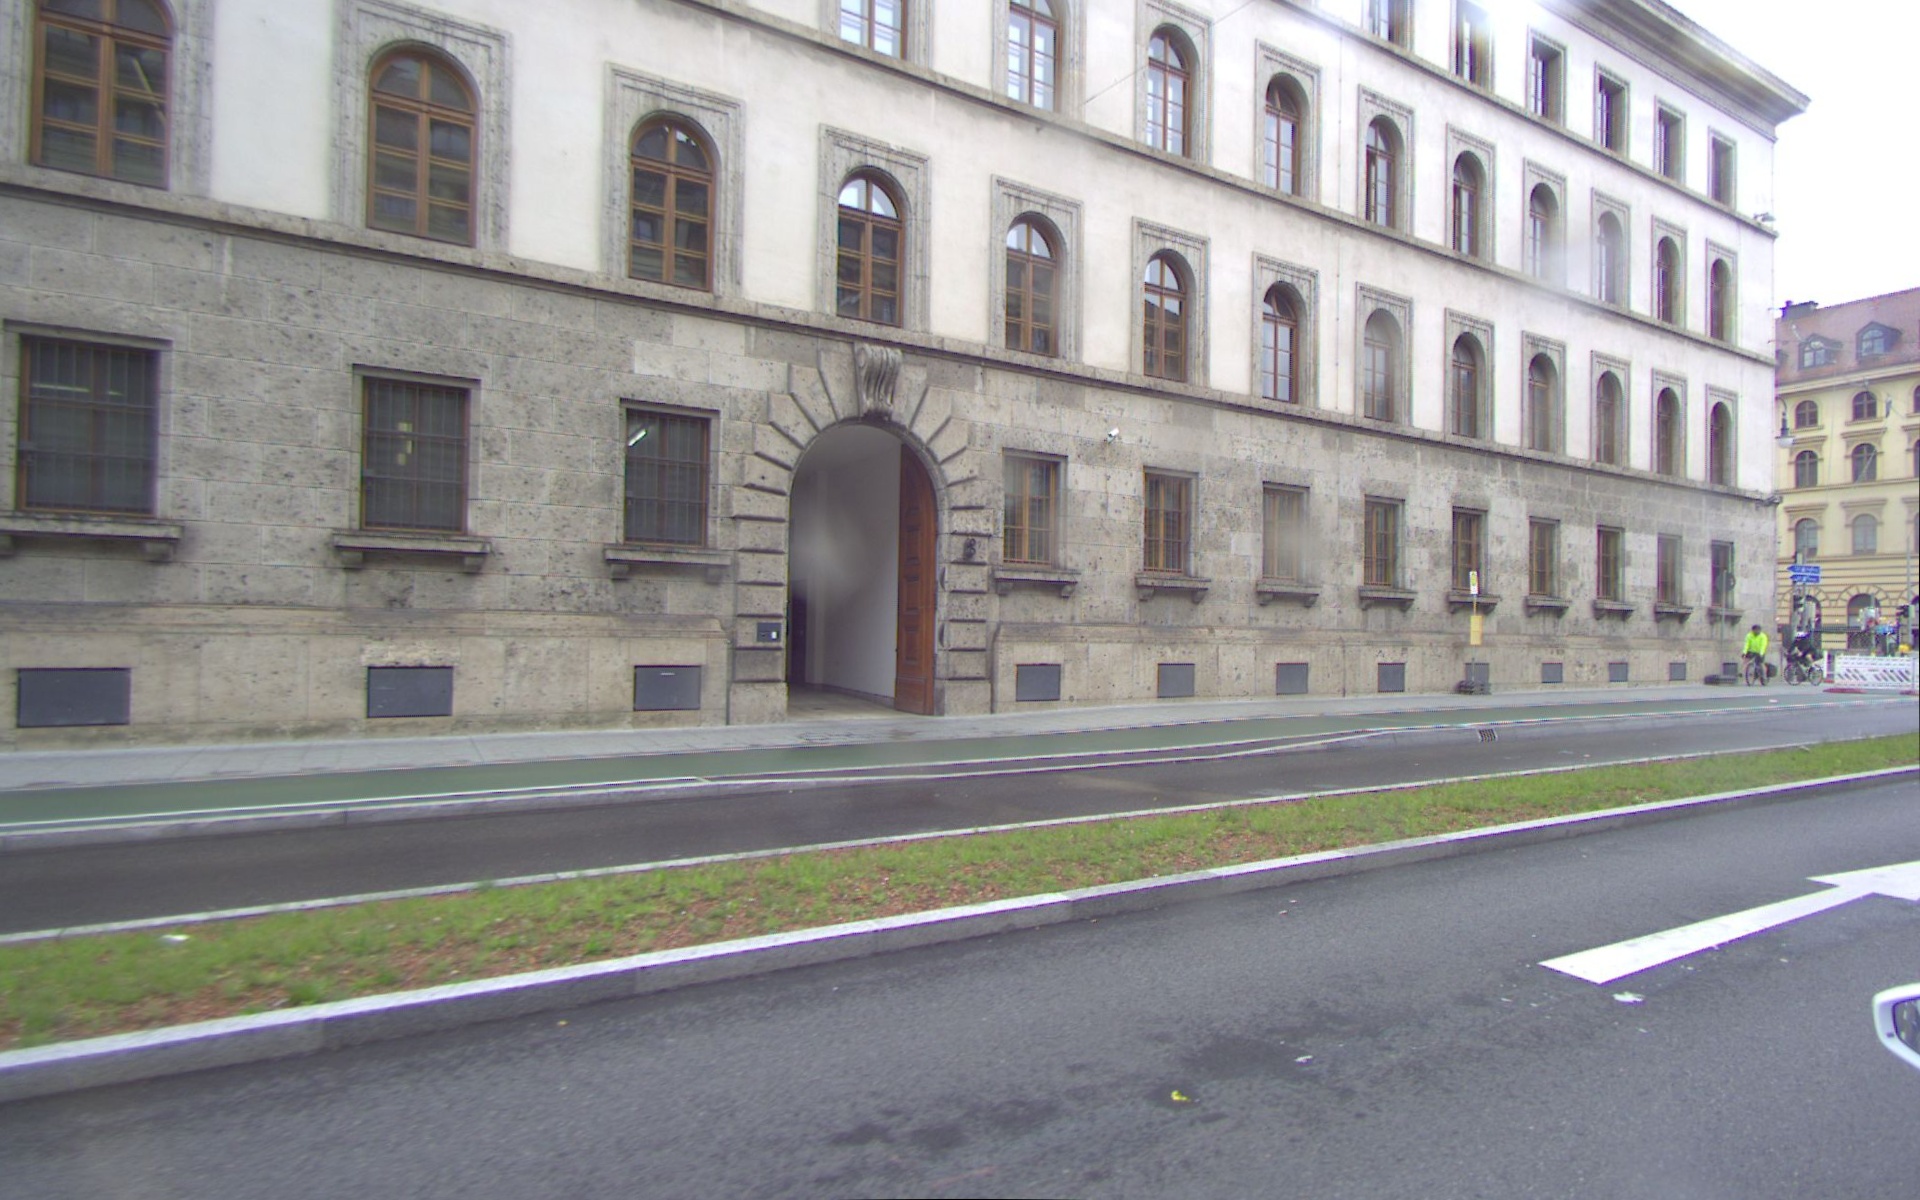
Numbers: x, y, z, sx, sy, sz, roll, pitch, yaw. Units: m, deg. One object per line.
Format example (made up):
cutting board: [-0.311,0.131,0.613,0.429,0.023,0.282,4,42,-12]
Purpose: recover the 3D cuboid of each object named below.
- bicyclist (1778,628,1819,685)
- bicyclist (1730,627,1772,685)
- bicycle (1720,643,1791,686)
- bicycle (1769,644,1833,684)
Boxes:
bicyclist: [27.268,1.815,32.684,0.679,1.799,0.795,1,0,-26]
bicyclist: [24.756,1.732,31.438,0.679,1.772,0.795,1,0,-26]
bicycle: [25.002,2.015,31.565,2.416,1.259,0.784,2,0,-26]
bicycle: [27.464,2.083,32.794,2.170,1.259,0.784,2,0,-26]
